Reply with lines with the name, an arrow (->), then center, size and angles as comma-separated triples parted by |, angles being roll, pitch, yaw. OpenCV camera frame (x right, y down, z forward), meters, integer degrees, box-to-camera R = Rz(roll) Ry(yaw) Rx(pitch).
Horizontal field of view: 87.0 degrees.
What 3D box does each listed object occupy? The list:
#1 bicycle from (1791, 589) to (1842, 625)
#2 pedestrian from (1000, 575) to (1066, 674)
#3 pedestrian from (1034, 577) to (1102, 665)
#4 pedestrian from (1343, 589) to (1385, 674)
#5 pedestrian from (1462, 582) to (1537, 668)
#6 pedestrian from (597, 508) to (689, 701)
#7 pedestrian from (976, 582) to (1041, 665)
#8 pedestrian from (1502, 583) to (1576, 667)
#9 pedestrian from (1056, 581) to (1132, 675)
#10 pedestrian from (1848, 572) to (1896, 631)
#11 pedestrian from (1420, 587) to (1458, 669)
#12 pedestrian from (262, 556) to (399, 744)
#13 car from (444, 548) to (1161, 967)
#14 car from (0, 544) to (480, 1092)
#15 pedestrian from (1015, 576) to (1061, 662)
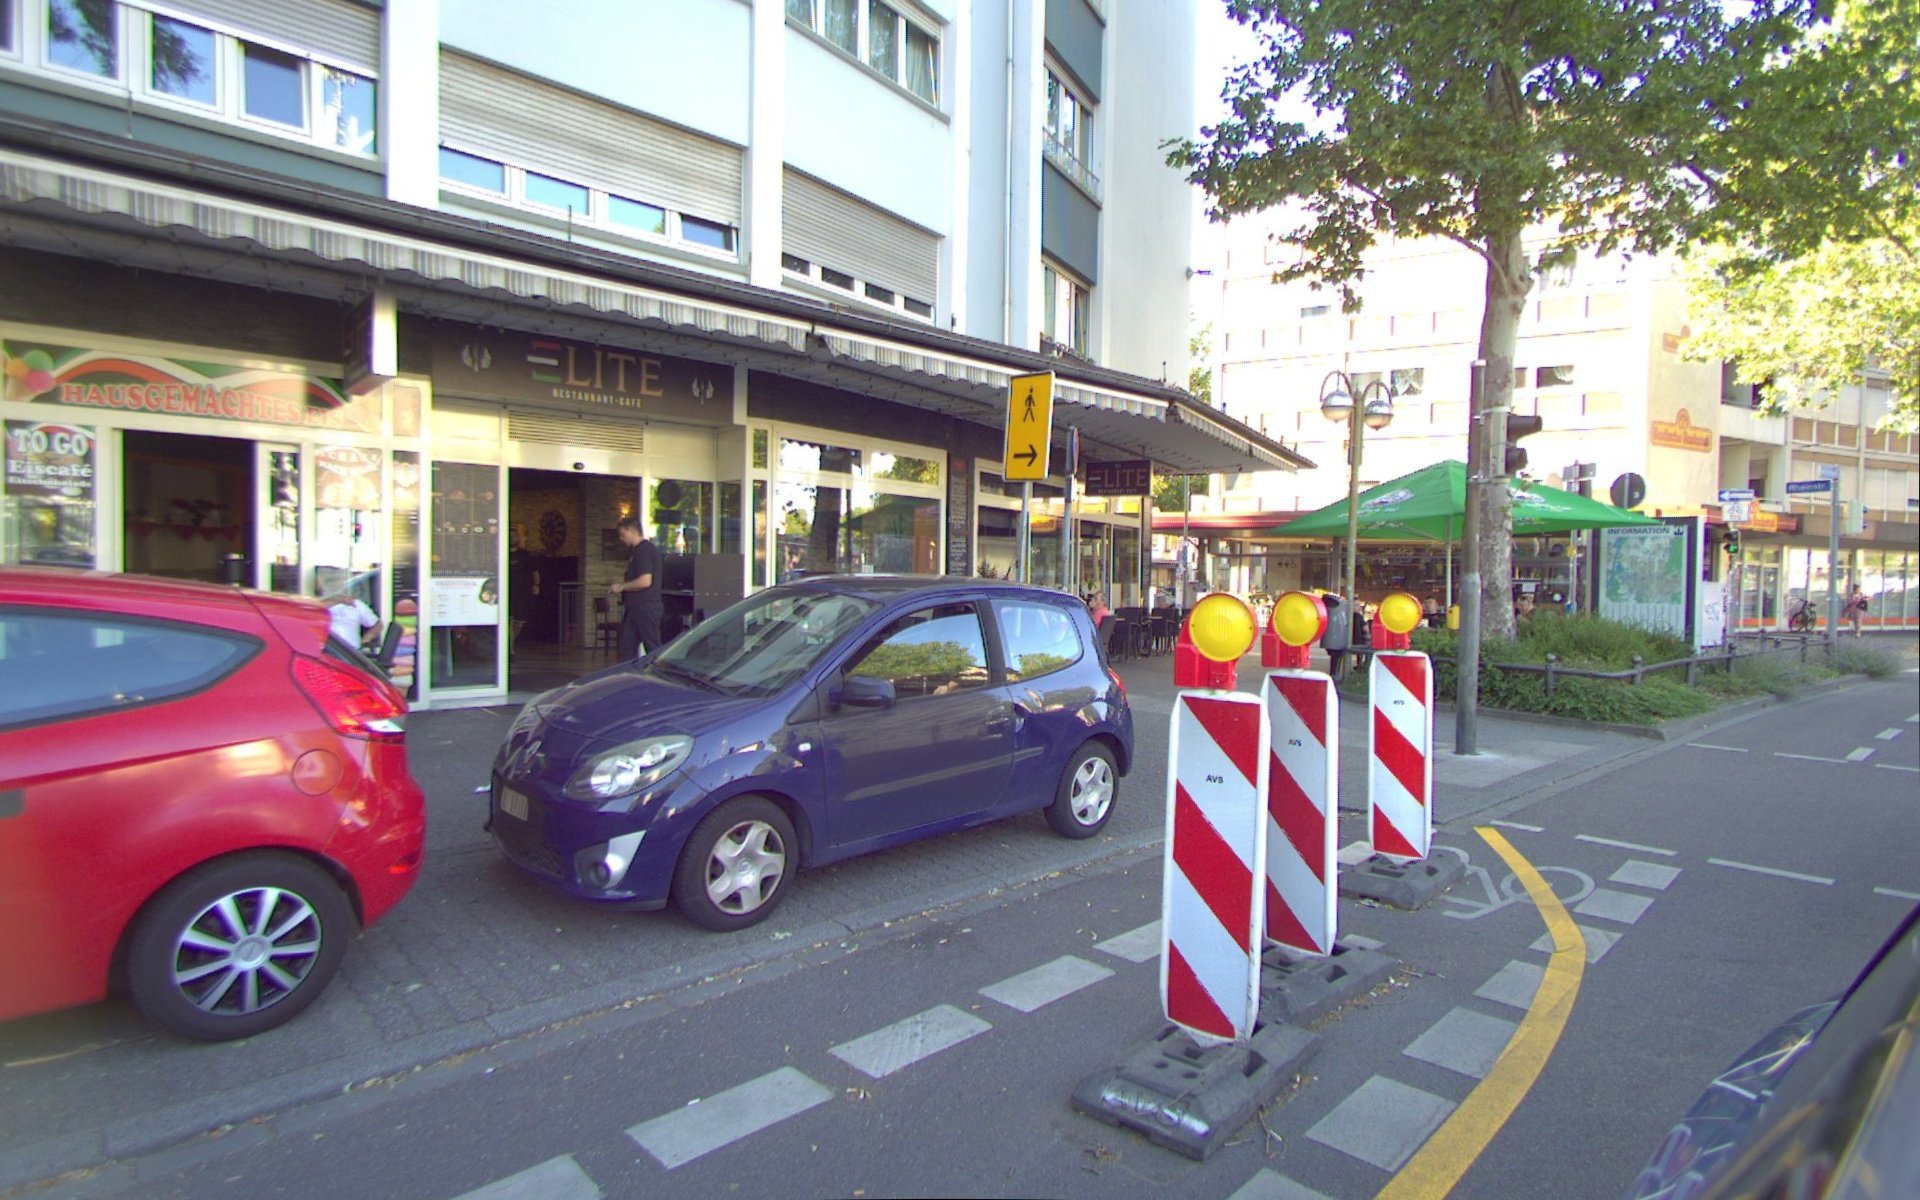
bicycle -> 28.135, 0.216, 33.253 | 1.933, 1.157, 0.530 | 0, 1, -26
pedestrian -> 1.001, 0.317, 13.754 | 0.644, 1.267, 0.711 | 3, 1, 25
pedestrian -> 1.595, 0.300, 14.919 | 0.664, 1.233, 0.706 | 3, 1, 43
pedestrian -> 5.951, 0.455, 14.916 | 0.460, 1.235, 0.432 | 1, 0, 5
pedestrian -> 8.426, 0.374, 15.822 | 0.752, 1.301, 0.721 | 0, 1, -27
pedestrian -> -3.014, 0.029, 9.615 | 0.579, 1.756, 0.596 | 1, 3, -43
pedestrian -> 0.711, 0.323, 14.658 | 0.710, 1.144, 0.645 | 3, 1, 25
pedestrian -> 9.277, 0.384, 16.225 | 0.753, 1.301, 0.720 | 0, 1, -28
pedestrian -> 1.864, 0.370, 14.029 | 0.838, 1.213, 0.644 | 3, 1, 27
pedestrian -> 27.985, 0.035, 31.057 | 0.883, 1.779, 0.751 | 0, 1, -24
pedestrian -> 7.464, 0.421, 15.772 | 0.427, 1.234, 0.465 | 3, 2, 20
pedestrian -> -4.816, 0.325, 7.714 | 0.765, 1.247, 1.207 | -1, 5, -38
car -> -0.642, 0.535, 5.506 | 3.545, 1.484, 1.621 | 0, 4, -44
car -> -3.636, 0.568, 2.854 | 1.667, 1.446, 3.786 | 5, 4, 44
pedestrian -> 1.174, 0.277, 15.280 | 0.541, 1.259, 0.521 | 2, 1, -7
